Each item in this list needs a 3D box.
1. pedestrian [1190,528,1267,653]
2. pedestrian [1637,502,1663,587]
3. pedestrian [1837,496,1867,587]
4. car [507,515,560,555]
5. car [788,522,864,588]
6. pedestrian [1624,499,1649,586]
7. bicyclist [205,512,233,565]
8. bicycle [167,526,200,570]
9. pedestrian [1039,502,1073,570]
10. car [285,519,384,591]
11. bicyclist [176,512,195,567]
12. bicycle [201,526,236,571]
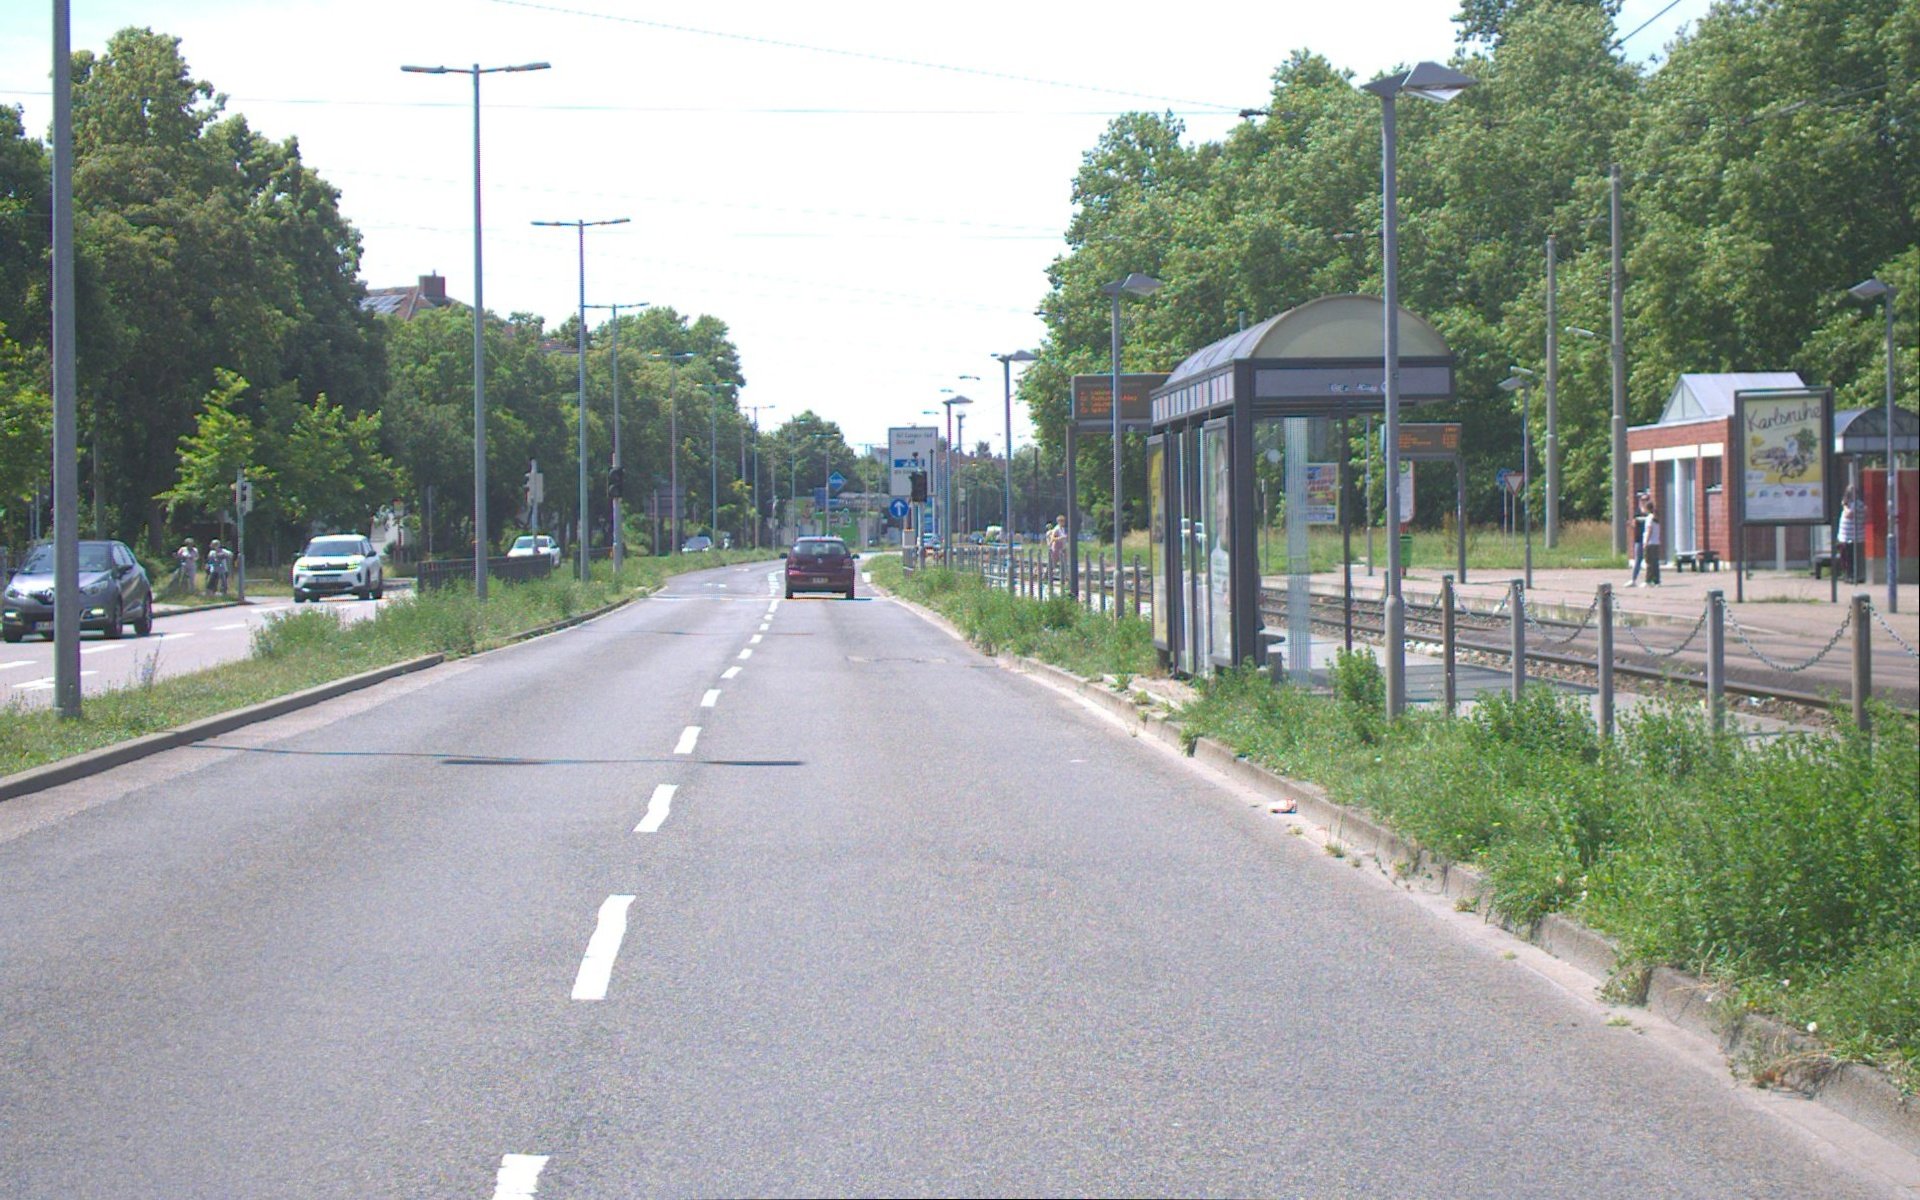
[{"bbox_3d":[2.273,-0.089,29.131,0.575,1.036,0.579,-1,1,-2],"label":"pedestrian"},{"bbox_3d":[12.919,-1.039,64.349,0.360,1.591,0.483,1,0,0],"label":"pedestrian"},{"bbox_3d":[15.627,-1.024,60.222,0.360,1.591,0.612,1,0,2],"label":"pedestrian"},{"bbox_3d":[-17.558,-2.688,141.632,1.821,1.567,4.348,-1,1,-3],"label":"car"},{"bbox_3d":[-3.142,-1.076,80.950,1.702,1.472,3.717,-1,1,-2],"label":"car"},{"bbox_3d":[12.776,-1.089,64.968,0.360,1.640,0.445,1,0,0],"label":"pedestrian"},{"bbox_3d":[-18.767,-1.562,87.098,0.544,1.341,0.755,-1,1,-3],"label":"bicyclist"},{"bbox_3d":[-19.634,-1.314,86.937,0.554,1.091,1.380,1,0,-1],"label":"bicycle"},{"bbox_3d":[2.498,-1.671,89.324,0.634,1.753,0.817,1,0,-16],"label":"pedestrian"},{"bbox_3d":[-15.713,-1.128,86.573,1.859,1.752,4.480,1,1,-3],"label":"car"},{"bbox_3d":[-19.606,-1.532,87.001,0.357,1.387,0.440,1,1,0],"label":"bicyclist"},{"bbox_3d":[-18.773,-1.311,87.052,0.588,1.129,1.616,-1,1,-2],"label":"bicycle"}]
